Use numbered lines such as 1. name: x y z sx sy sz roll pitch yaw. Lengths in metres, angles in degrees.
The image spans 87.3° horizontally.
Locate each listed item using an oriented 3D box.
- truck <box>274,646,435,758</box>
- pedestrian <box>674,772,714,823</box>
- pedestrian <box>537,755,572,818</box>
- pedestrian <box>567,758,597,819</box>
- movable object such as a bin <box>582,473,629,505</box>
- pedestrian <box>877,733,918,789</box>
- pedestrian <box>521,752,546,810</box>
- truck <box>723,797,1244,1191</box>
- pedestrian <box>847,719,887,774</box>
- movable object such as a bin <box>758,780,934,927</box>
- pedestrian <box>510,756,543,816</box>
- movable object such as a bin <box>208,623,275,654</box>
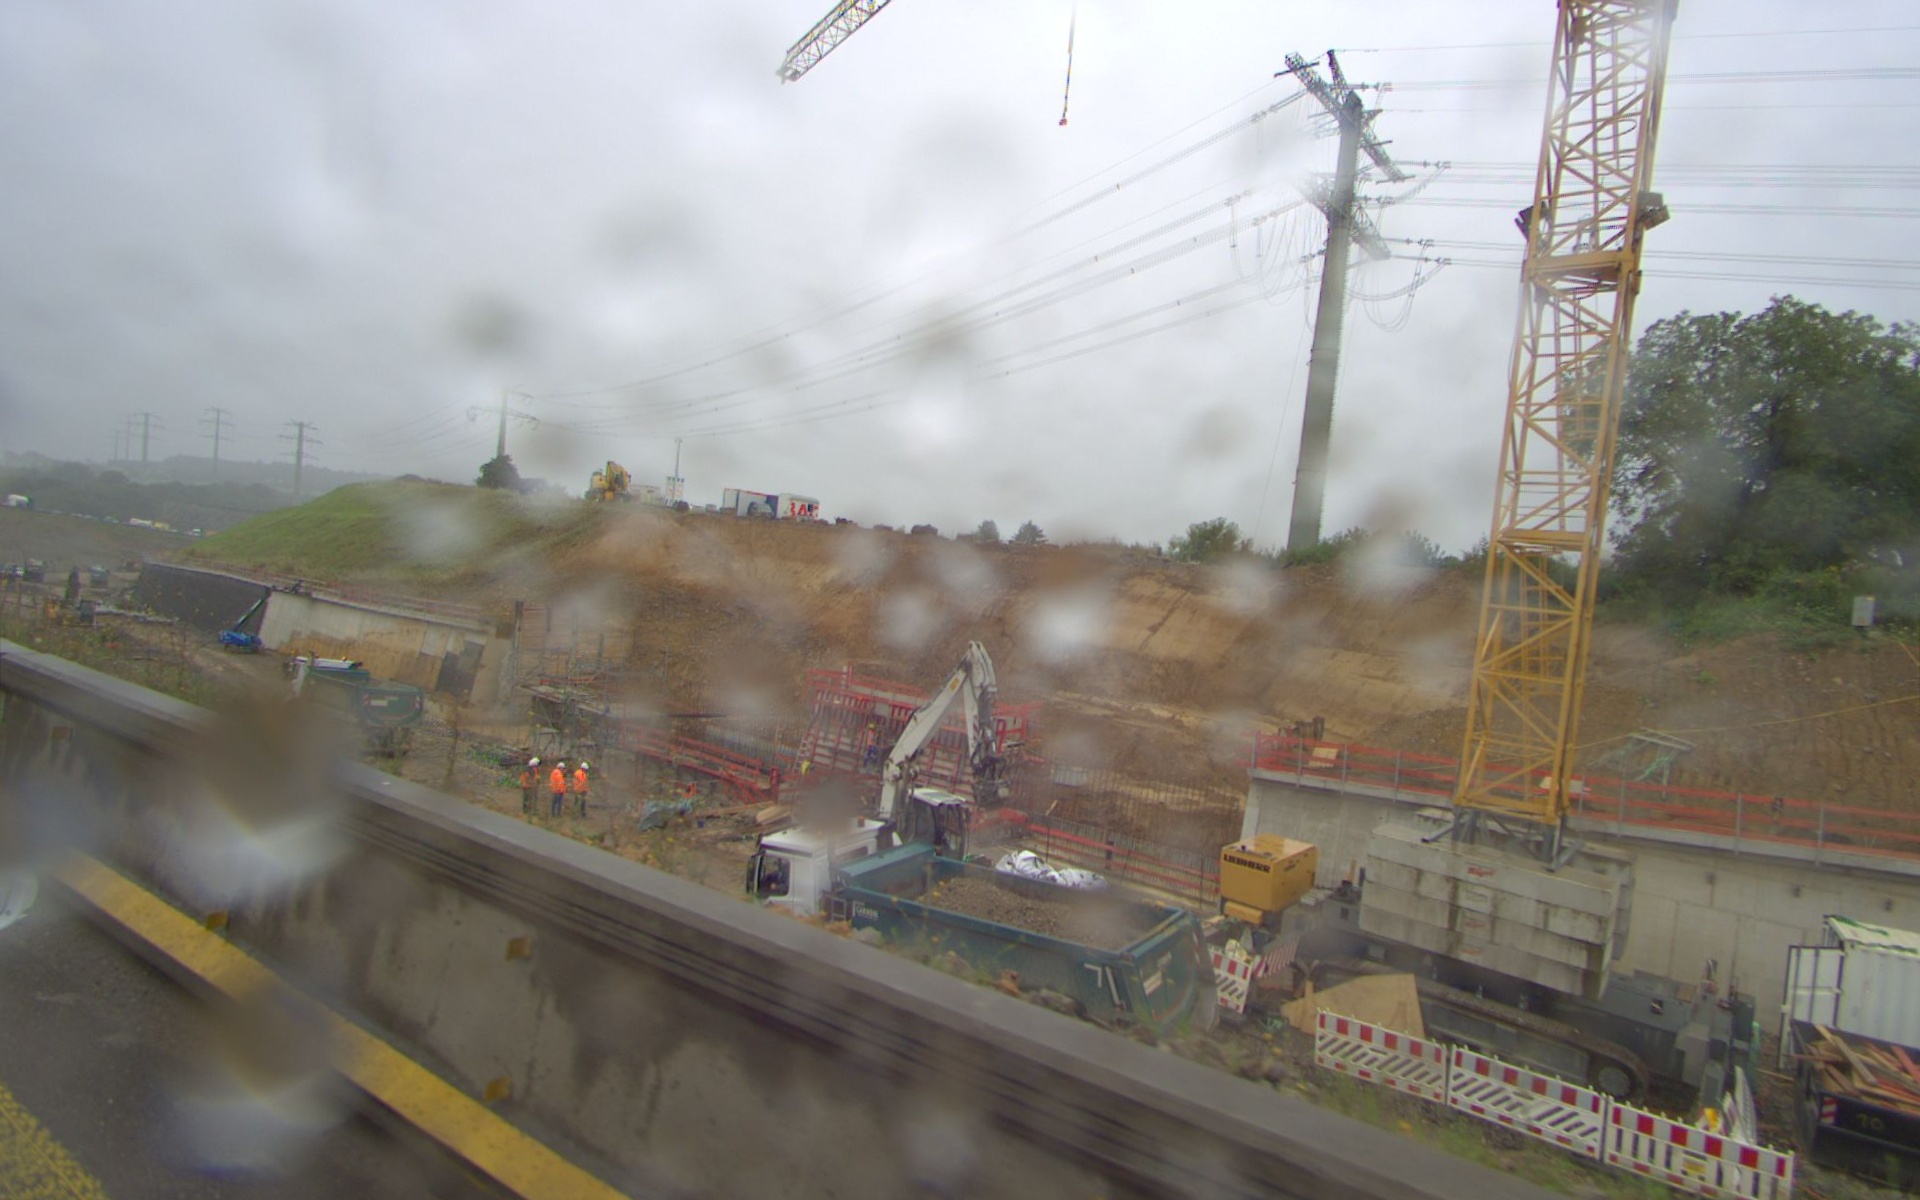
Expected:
1. truck: -26.658 4.359 44.072 8.929 3.531 2.730 6 -2 38
2. pedestrian: -11.889 8.847 44.974 0.892 2.013 0.901 6 -11 36
3. pedestrian: -13.830 6.356 34.308 0.721 1.967 0.576 7 -1 5
4. pedestrian: -12.972 6.476 34.554 0.725 1.967 0.573 7 -1 -19
5. movable object such as a bin: -34.312 -10.724 97.320 3.911 2.472 2.427 9 0 41
6. pedestrian: -2.538 6.514 40.654 0.885 2.013 0.907 5 -11 37
7. pedestrian: -14.980 6.344 35.312 0.567 1.891 0.732 7 -1 -21
8. truck: 0.015 6.130 17.531 8.811 3.544 2.701 6 -2 37
9. pedestrian: -3.853 6.068 41.718 0.885 2.013 0.907 5 -11 37
10. movable object such as a bin: -2.886 6.376 25.912 2.920 2.769 3.154 6 -2 33
11. pedestrian: -14.803 6.332 34.384 0.724 1.891 0.573 6 -1 39
12. movable object such as a bin: -58.812 3.178 82.356 3.772 2.035 2.002 6 -4 -4
